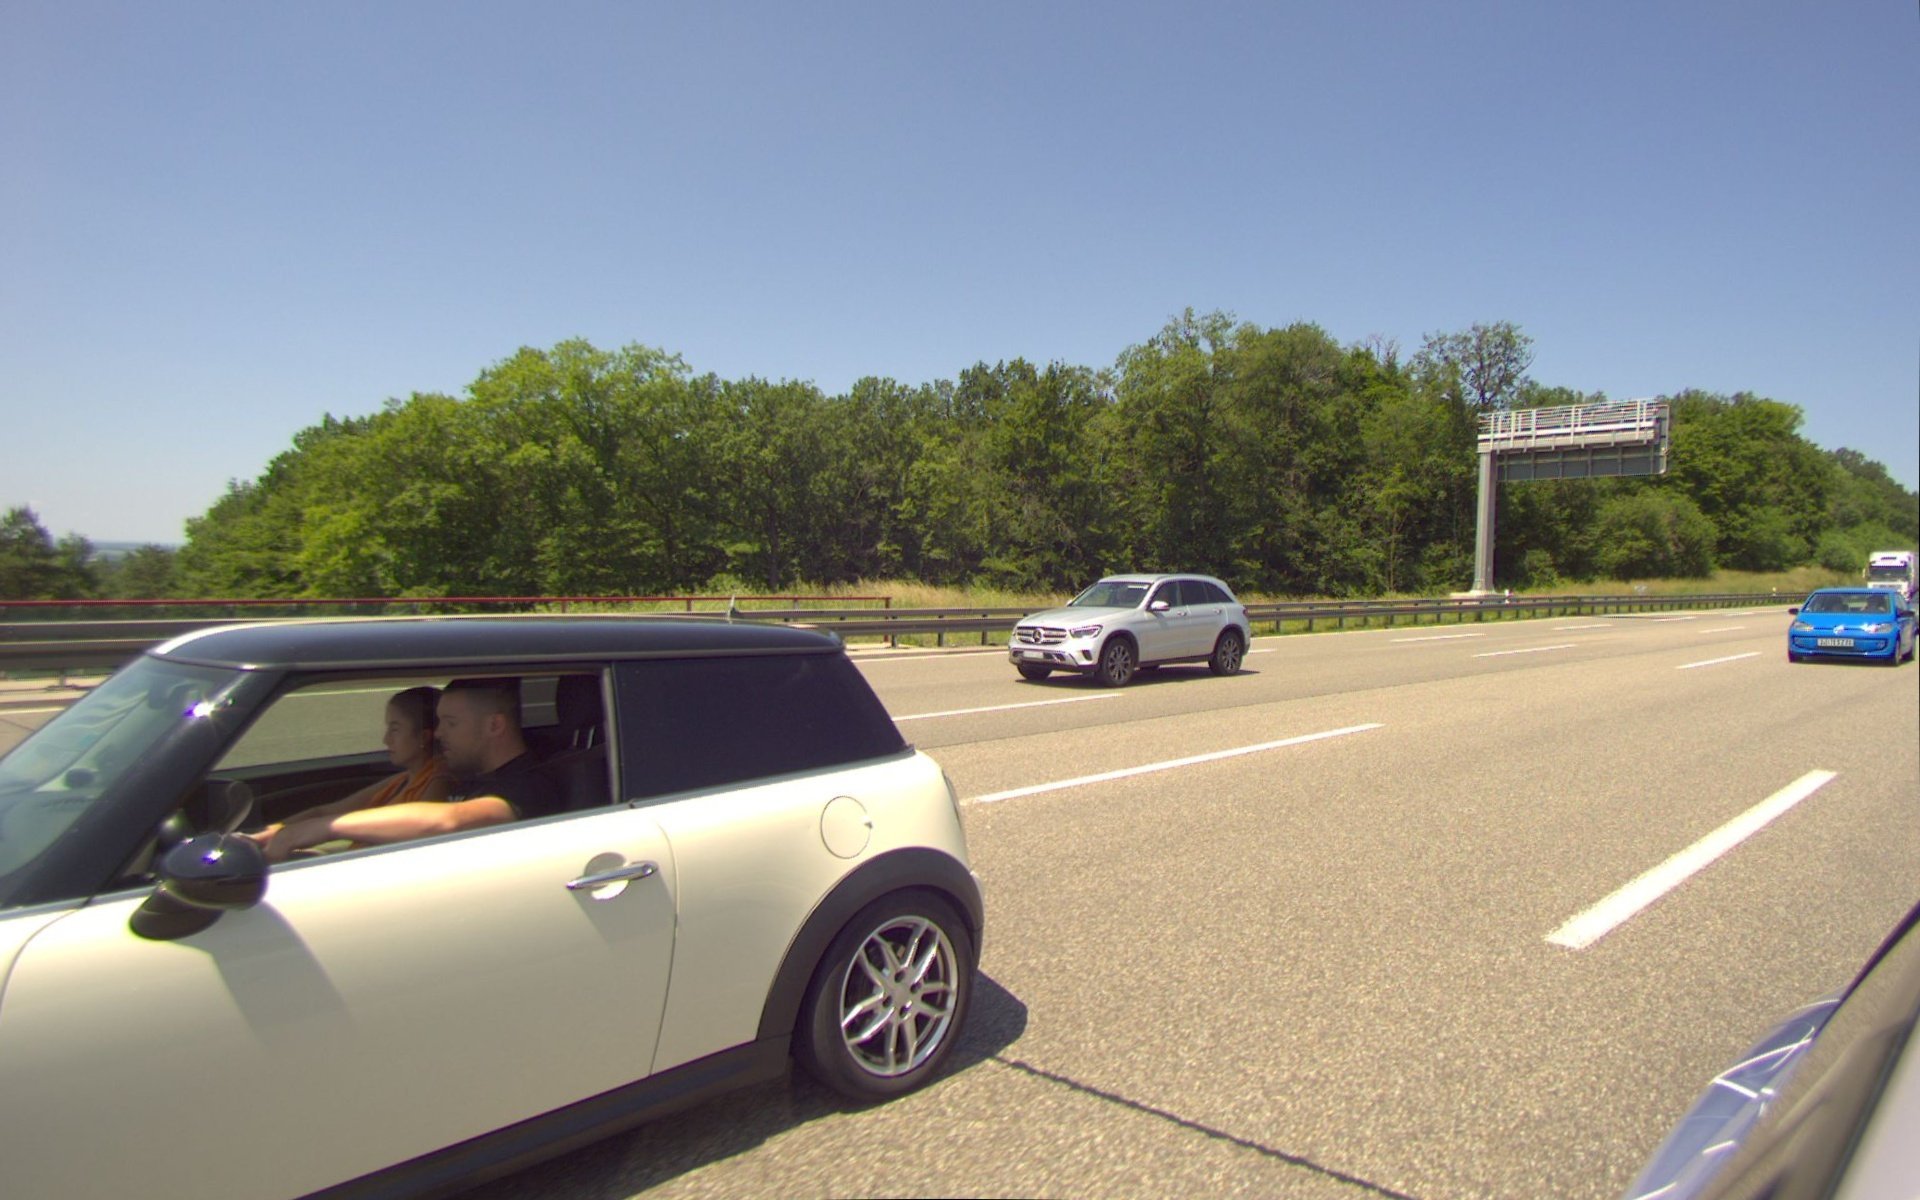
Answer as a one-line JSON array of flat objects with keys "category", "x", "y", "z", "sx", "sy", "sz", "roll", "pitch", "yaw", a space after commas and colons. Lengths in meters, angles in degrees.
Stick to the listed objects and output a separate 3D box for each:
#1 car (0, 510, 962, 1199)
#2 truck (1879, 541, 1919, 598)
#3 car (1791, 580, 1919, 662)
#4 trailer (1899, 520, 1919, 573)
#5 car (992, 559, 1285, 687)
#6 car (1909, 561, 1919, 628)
[{"category": "car", "x": -2.086, "y": 0.644, "z": 2.434, "sx": 3.930, "sy": 1.571, "sz": 1.844, "roll": -1, "pitch": 0, "yaw": -40}, {"category": "truck", "x": 75.361, "y": -2.312, "z": 79.954, "sx": 10.776, "sy": 4.213, "sz": 2.727, "roll": 0, "pitch": 0, "yaw": -41}, {"category": "car", "x": 18.087, "y": 0.344, "z": 20.135, "sx": 3.930, "sy": 1.428, "sz": 1.741, "roll": -1, "pitch": 2, "yaw": -41}, {"category": "trailer", "x": 81.213, "y": -4.449, "z": 84.945, "sx": 8.235, "sy": 4.121, "sz": 2.584, "roll": 0, "pitch": 0, "yaw": -41}, {"category": "car", "x": 3.004, "y": 0.300, "z": 16.233, "sx": 5.147, "sy": 1.753, "sz": 1.804, "roll": 0, "pitch": 0, "yaw": -41}, {"category": "car", "x": 32.031, "y": -0.186, "z": 32.379, "sx": 4.700, "sy": 2.079, "sz": 1.965, "roll": -1, "pitch": 1, "yaw": -41}]
